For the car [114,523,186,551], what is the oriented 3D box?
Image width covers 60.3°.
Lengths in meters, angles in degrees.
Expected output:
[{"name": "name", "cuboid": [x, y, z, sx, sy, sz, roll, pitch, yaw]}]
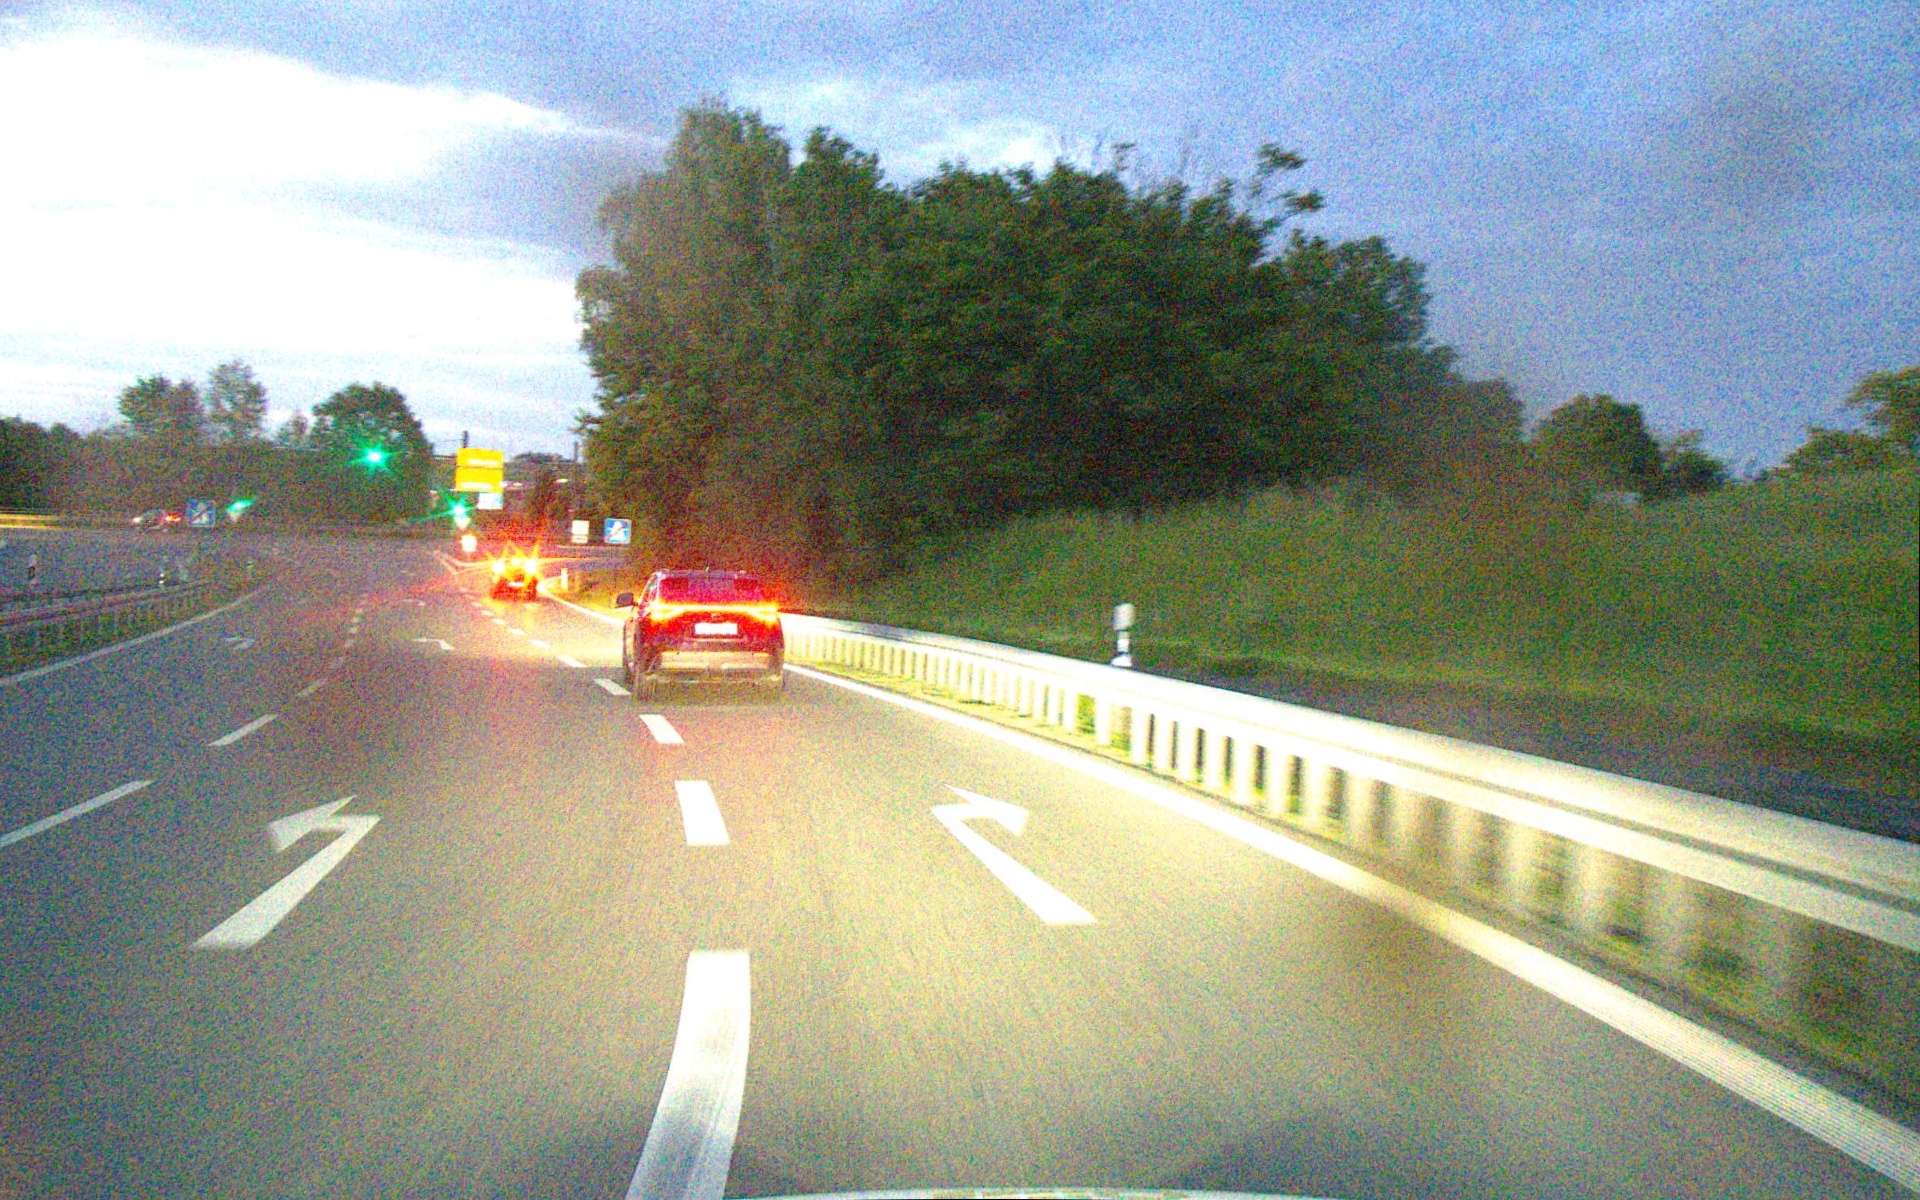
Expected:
[{"name": "car", "cuboid": [-52.846, -4.111, 107.928, 3.952, 1.478, 1.977, 3, 1, -34]}]

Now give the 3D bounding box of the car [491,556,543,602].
[{"name": "car", "cuboid": [-17.077, -0.784, 63.674, 1.753, 1.682, 3.981, 2, -1, -17]}]

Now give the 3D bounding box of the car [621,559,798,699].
[{"name": "car", "cuboid": [-3.435, 0.312, 21.980, 1.869, 1.648, 4.539, 0, 1, -15]}]
